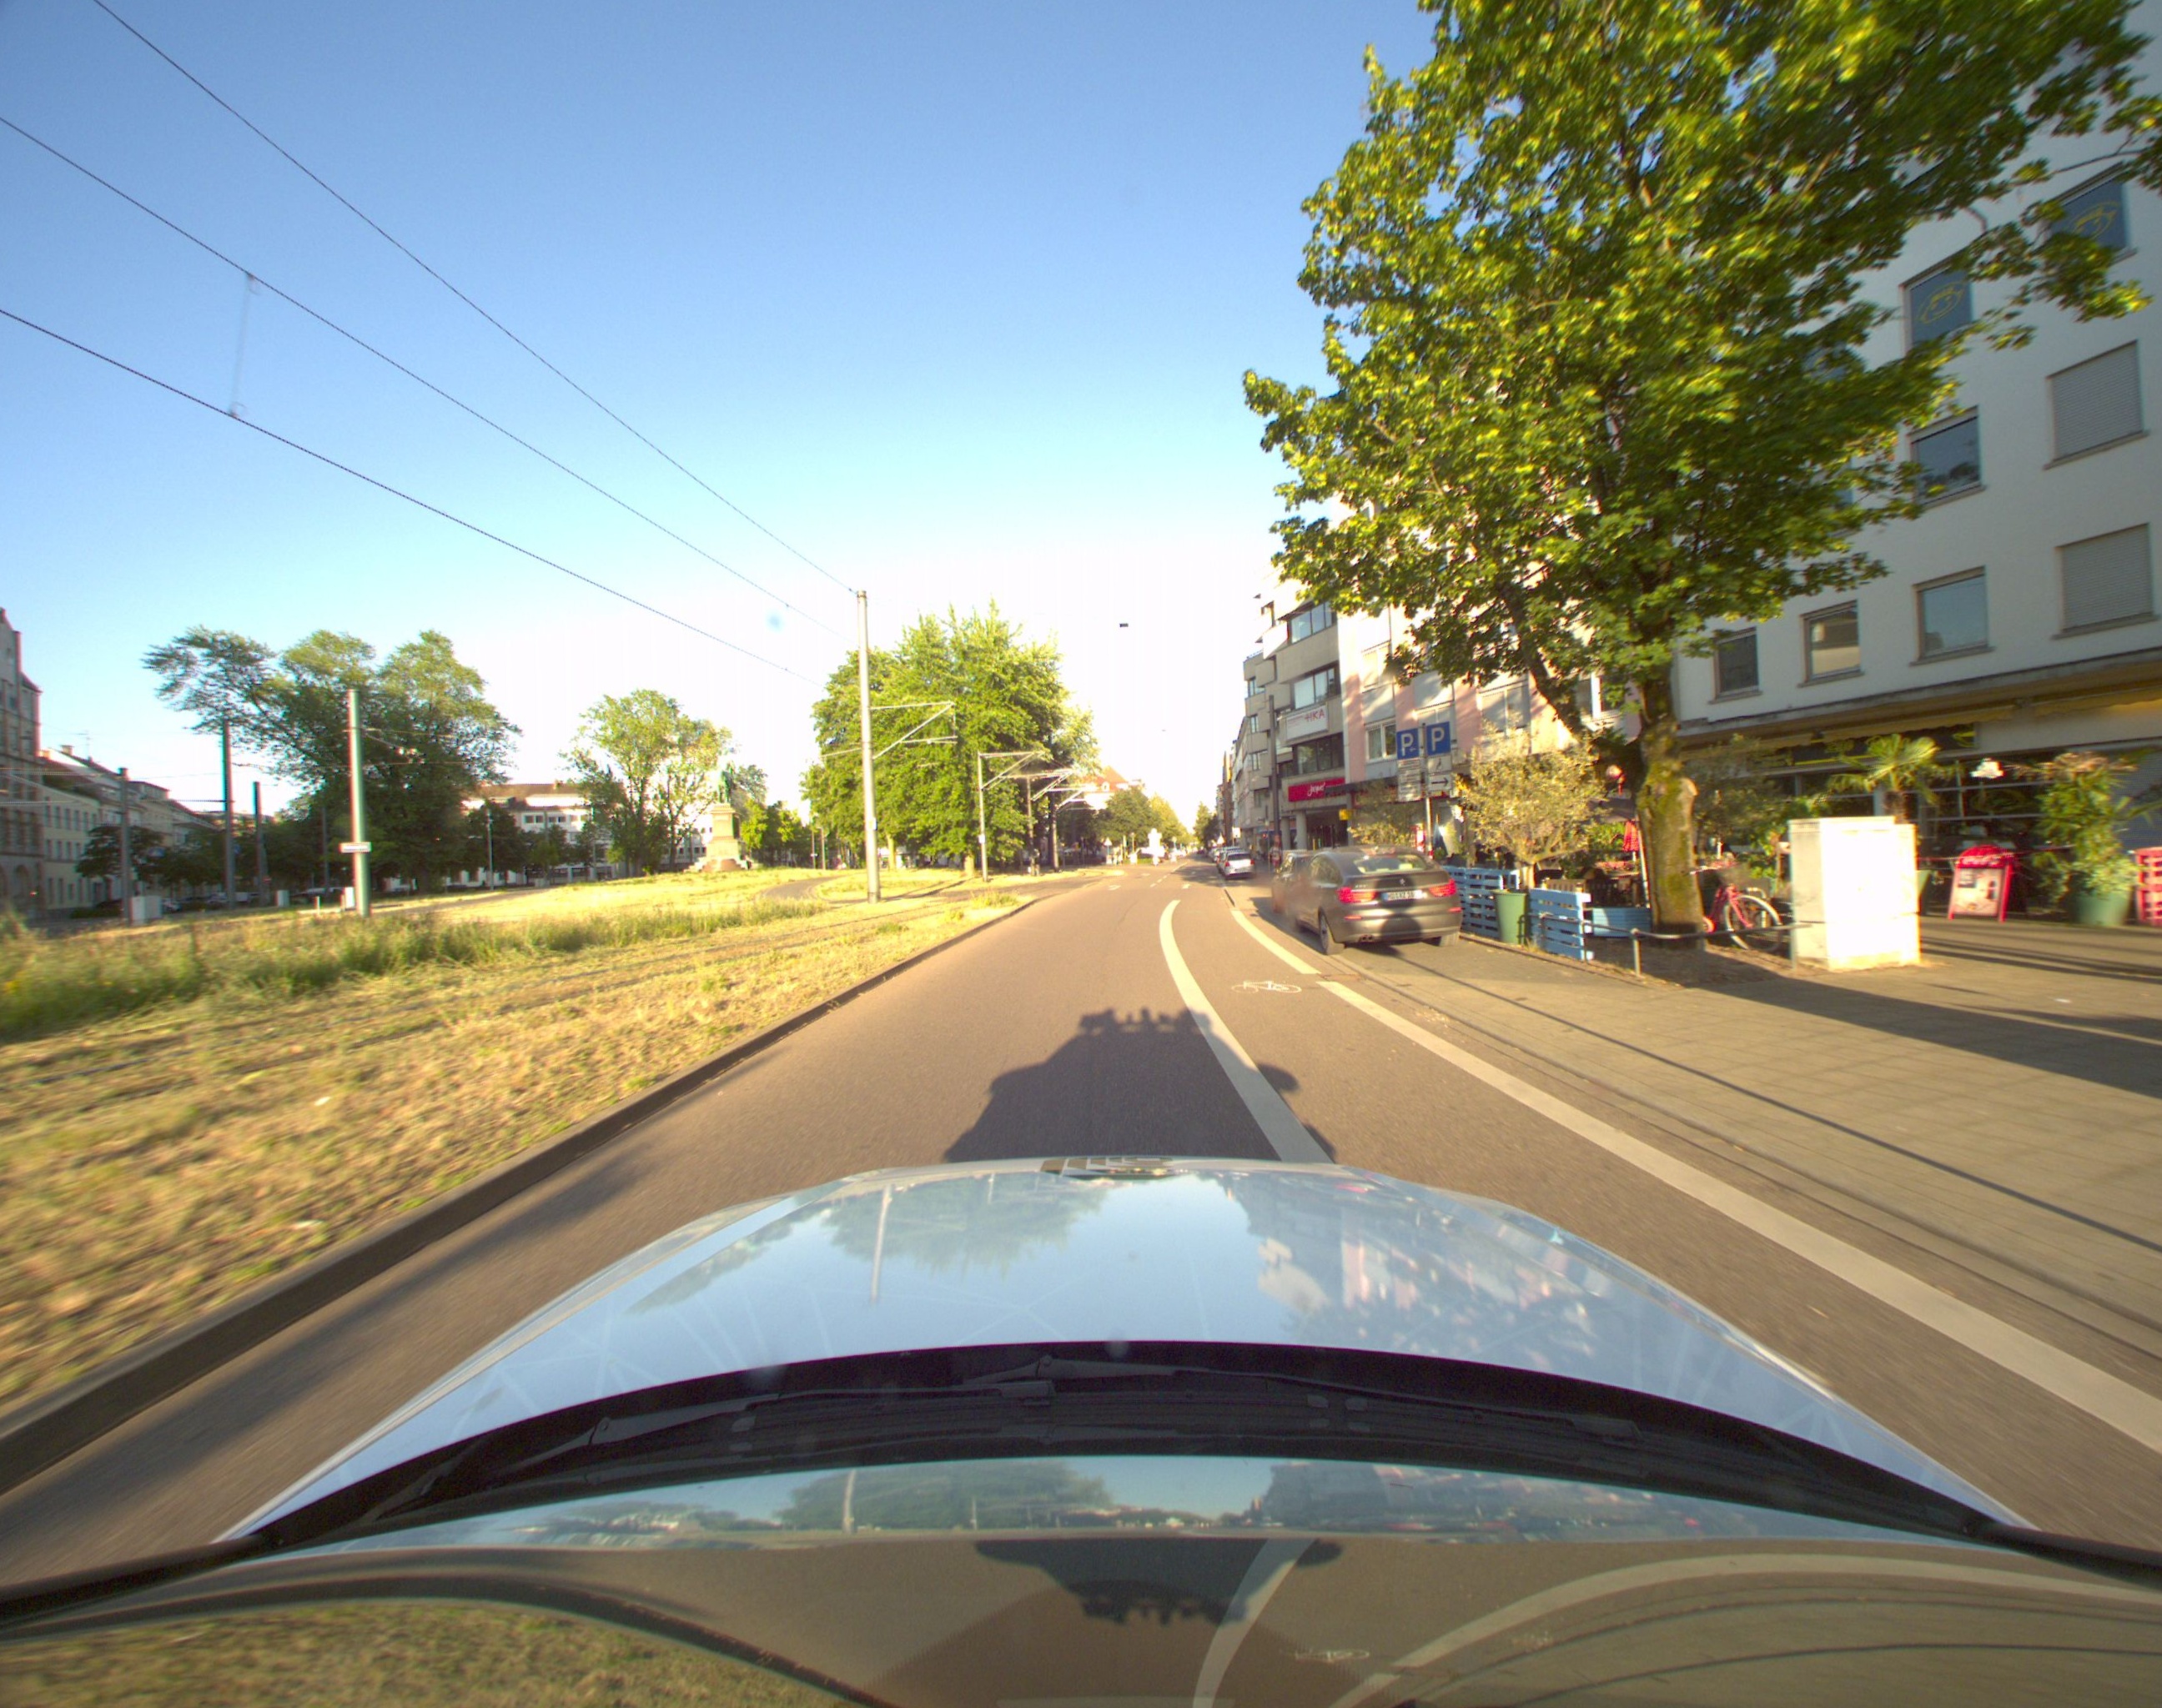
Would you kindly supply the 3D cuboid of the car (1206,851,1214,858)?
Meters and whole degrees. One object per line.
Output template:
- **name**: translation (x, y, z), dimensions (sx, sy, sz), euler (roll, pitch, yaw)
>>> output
- **car**: translation (29.559, 0.098, 186.783), dimensions (1.569, 1.543, 3.402), euler (-4, -1, 6)

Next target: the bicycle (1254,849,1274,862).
- **bicycle**: translation (16.238, 0.137, 72.323), dimensions (1.898, 1.005, 0.454), euler (-5, -1, -31)

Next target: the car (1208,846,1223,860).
- **car**: translation (16.806, -0.111, 101.791), dimensions (1.647, 1.665, 4.117), euler (-2, 0, 8)

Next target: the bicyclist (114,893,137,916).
- **bicyclist**: translation (-76.017, 4.003, 64.800), dimensions (0.958, 1.690, 0.888), euler (-2, 0, -38)

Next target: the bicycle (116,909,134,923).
- **bicycle**: translation (-75.846, 4.928, 64.605), dimensions (0.474, 1.011, 2.176), euler (-2, 0, -38)

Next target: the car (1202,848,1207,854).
- **car**: translation (33.225, -0.798, 218.830), dimensions (1.201, 1.300, 2.664), euler (-2, -1, 5)

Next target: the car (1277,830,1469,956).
- **car**: translation (4.549, 0.511, 13.490), dimensions (1.796, 1.670, 4.820), euler (-2, 0, 5)

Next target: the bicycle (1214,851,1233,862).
- **bicycle**: translation (14.811, 0.296, 84.457), dimensions (1.770, 0.990, 0.545), euler (-5, 1, 31)

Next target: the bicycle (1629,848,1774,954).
- **bicycle**: translation (7.789, 0.529, 10.353), dimensions (0.444, 1.210, 2.087), euler (-2, 0, 7)

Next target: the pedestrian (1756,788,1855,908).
- **pedestrian**: translation (10.998, -0.091, 12.373), dimensions (0.895, 1.726, 0.768), euler (-3, 1, -23)

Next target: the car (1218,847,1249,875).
- **car**: translation (9.068, 0.405, 48.673), dimensions (1.576, 1.590, 3.675), euler (-1, 0, 7)

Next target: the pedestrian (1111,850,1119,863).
- **pedestrian**: translation (4.128, 0.307, 100.137), dimensions (0.701, 1.559, 0.688), euler (-2, 0, -27)

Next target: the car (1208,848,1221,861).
- **car**: translation (18.729, 0.040, 114.190), dimensions (1.700, 1.835, 4.317), euler (-2, 0, 9)

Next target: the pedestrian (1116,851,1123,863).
- **pedestrian**: translation (4.734, 0.377, 100.491), dimensions (0.566, 1.364, 0.608), euler (-2, 0, -29)

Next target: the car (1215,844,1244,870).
- **car**: translation (10.898, 0.197, 60.098), dimensions (1.774, 1.804, 4.410), euler (-2, 0, 7)

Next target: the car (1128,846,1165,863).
- **car**: translation (9.255, 0.058, 114.870), dimensions (4.612, 2.251, 2.189), euler (-1, -1, -19)

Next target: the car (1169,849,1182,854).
- **car**: translation (28.101, -0.770, 243.061), dimensions (3.719, 1.492, 2.004), euler (-2, 0, 7)

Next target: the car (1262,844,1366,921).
- **car**: translation (5.174, 0.564, 18.569), dimensions (1.641, 1.534, 4.074), euler (-2, 0, 7)

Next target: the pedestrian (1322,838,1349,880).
- **pedestrian**: translation (10.176, 0.198, 32.572), dimensions (0.640, 1.627, 0.852), euler (-2, 0, -15)

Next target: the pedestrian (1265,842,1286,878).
- **pedestrian**: translation (9.822, 0.283, 41.096), dimensions (0.640, 1.786, 0.852), euler (-2, 0, -15)

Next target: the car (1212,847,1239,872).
- **car**: translation (9.712, 0.340, 54.857), dimensions (1.631, 1.528, 4.010), euler (-2, 0, 9)

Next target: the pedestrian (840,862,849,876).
- **pedestrian**: translation (-32.139, 2.024, 110.714), dimensions (0.856, 1.839, 0.999), euler (-2, 2, 8)

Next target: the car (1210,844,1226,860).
- **car**: translation (16.218, -0.263, 96.375), dimensions (1.782, 1.792, 4.101), euler (-3, -1, 8)

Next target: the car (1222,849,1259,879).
- **car**: translation (8.479, 0.524, 43.566), dimensions (1.774, 1.456, 4.011), euler (-3, 0, 10)

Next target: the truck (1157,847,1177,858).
- **truck**: translation (22.316, -0.453, 210.602), dimensions (4.914, 2.615, 2.004), euler (-3, -1, 7)
